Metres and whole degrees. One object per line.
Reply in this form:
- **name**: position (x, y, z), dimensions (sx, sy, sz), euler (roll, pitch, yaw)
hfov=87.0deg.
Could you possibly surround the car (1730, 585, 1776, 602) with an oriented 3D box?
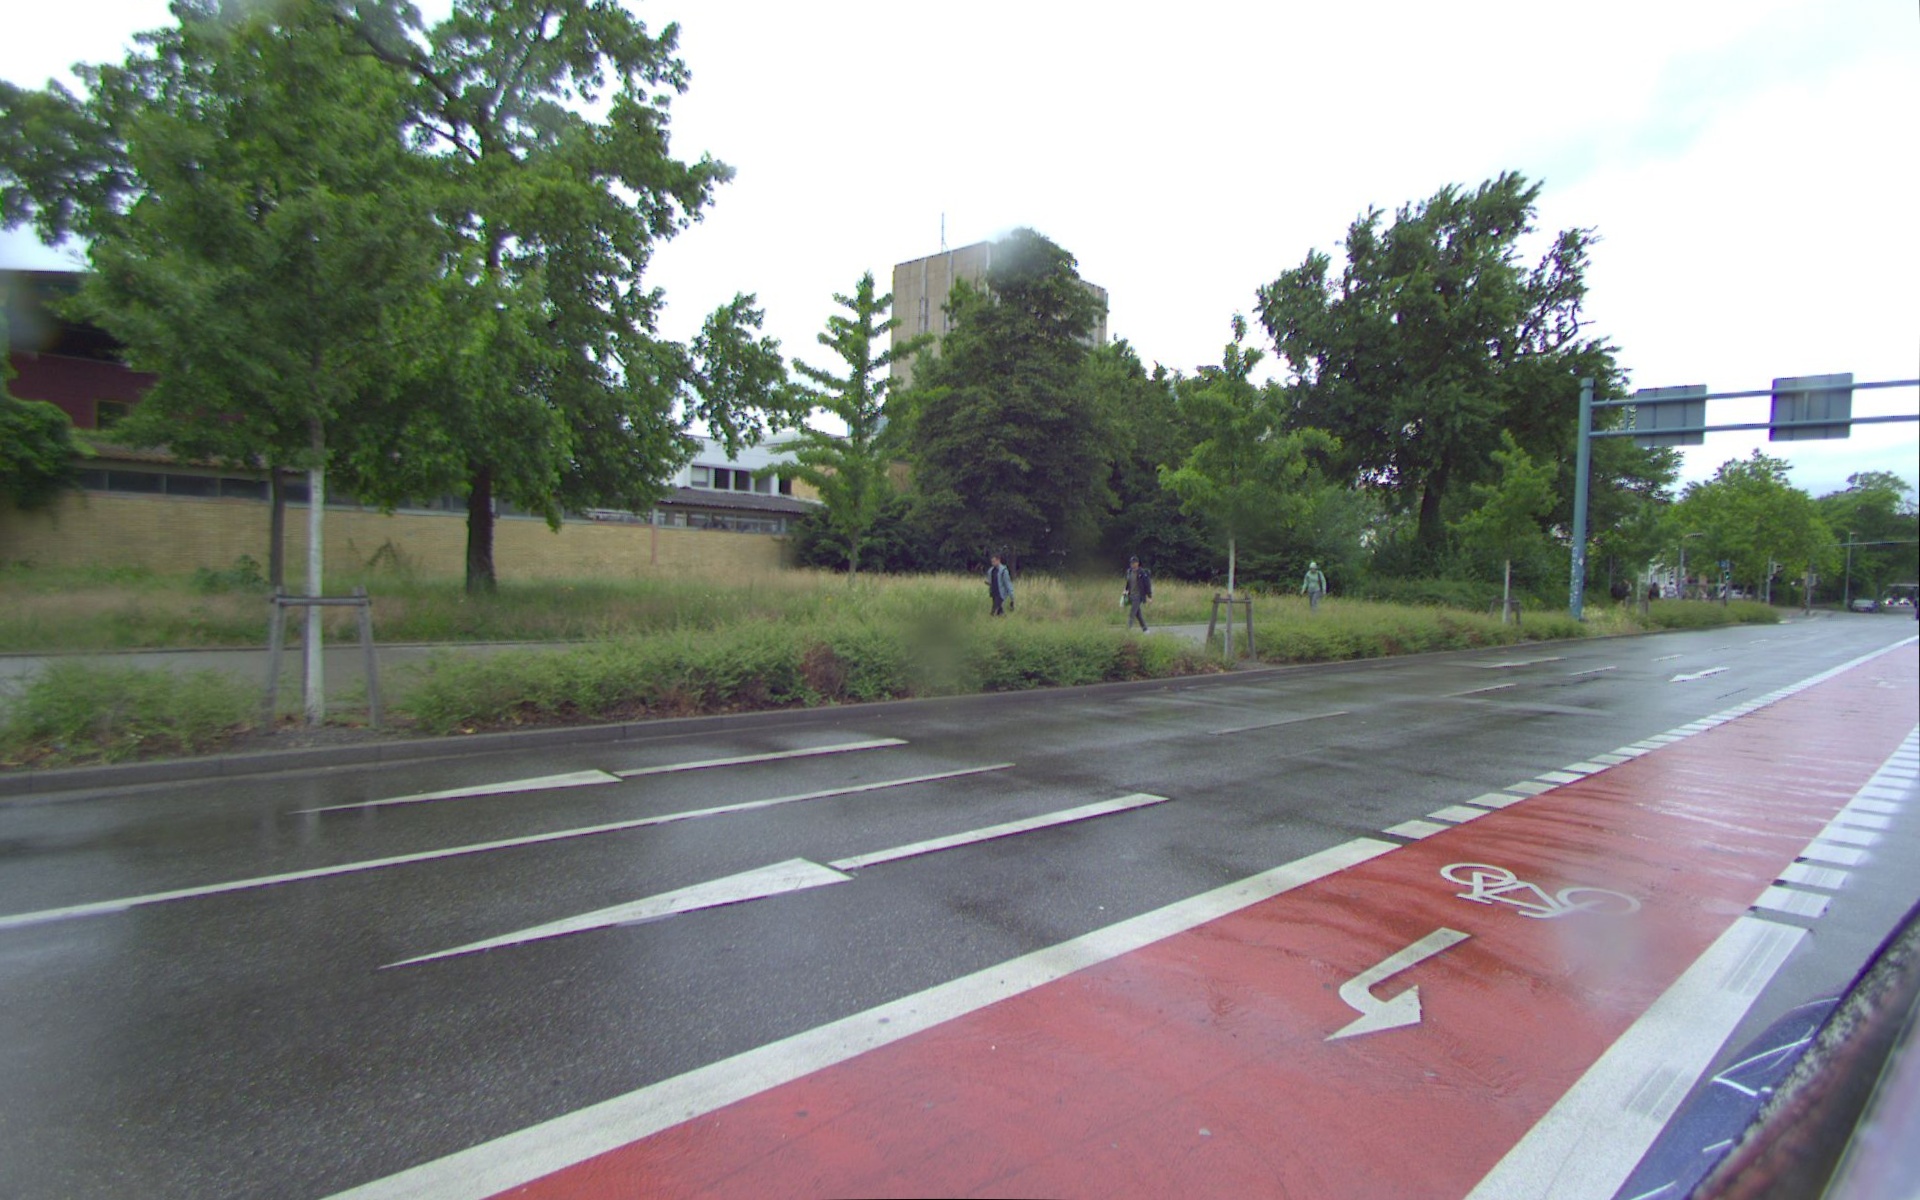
- **car**: position (97.491, -0.848, 124.446), dimensions (4.405, 1.895, 1.615), euler (3, 2, 39)

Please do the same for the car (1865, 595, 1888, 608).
- **car**: position (96.327, 0.117, 106.364), dimensions (1.657, 1.282, 4.042), euler (4, 3, 44)

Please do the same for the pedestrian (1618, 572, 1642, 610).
- **pedestrian**: position (33.726, -0.440, 50.927), dimensions (0.835, 1.882, 0.732), euler (1, 2, -38)

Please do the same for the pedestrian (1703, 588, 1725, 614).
- **pedestrian**: position (47.732, 0.055, 64.056), dimensions (0.868, 1.627, 0.857), euler (3, 2, 24)

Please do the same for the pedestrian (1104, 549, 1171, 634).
- **pedestrian**: position (3.830, -0.195, 21.857), dimensions (1.026, 1.769, 0.936), euler (1, 2, -38)

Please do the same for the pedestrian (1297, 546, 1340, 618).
- **pedestrian**: position (10.421, -0.532, 29.456), dimensions (0.813, 2.038, 0.793), euler (1, 2, -38)

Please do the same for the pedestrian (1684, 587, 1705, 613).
- **pedestrian**: position (46.824, -0.007, 64.500), dimensions (0.868, 1.627, 0.856), euler (3, 2, 25)

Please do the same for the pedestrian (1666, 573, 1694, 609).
- **pedestrian**: position (36.532, -0.452, 51.339), dimensions (0.814, 1.743, 0.935), euler (4, -2, -39)

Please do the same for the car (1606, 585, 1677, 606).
- **car**: position (53.501, -0.377, 79.490), dimensions (4.375, 1.353, 1.747), euler (4, 5, 43)

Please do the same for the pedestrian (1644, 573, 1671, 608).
- **pedestrian**: position (35.997, -0.494, 52.225), dimensions (0.814, 1.725, 0.935), euler (4, -2, -39)

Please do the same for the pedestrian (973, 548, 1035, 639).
- **pedestrian**: position (0.907, -0.146, 20.886), dimensions (0.813, 1.819, 0.936), euler (1, 2, -37)
